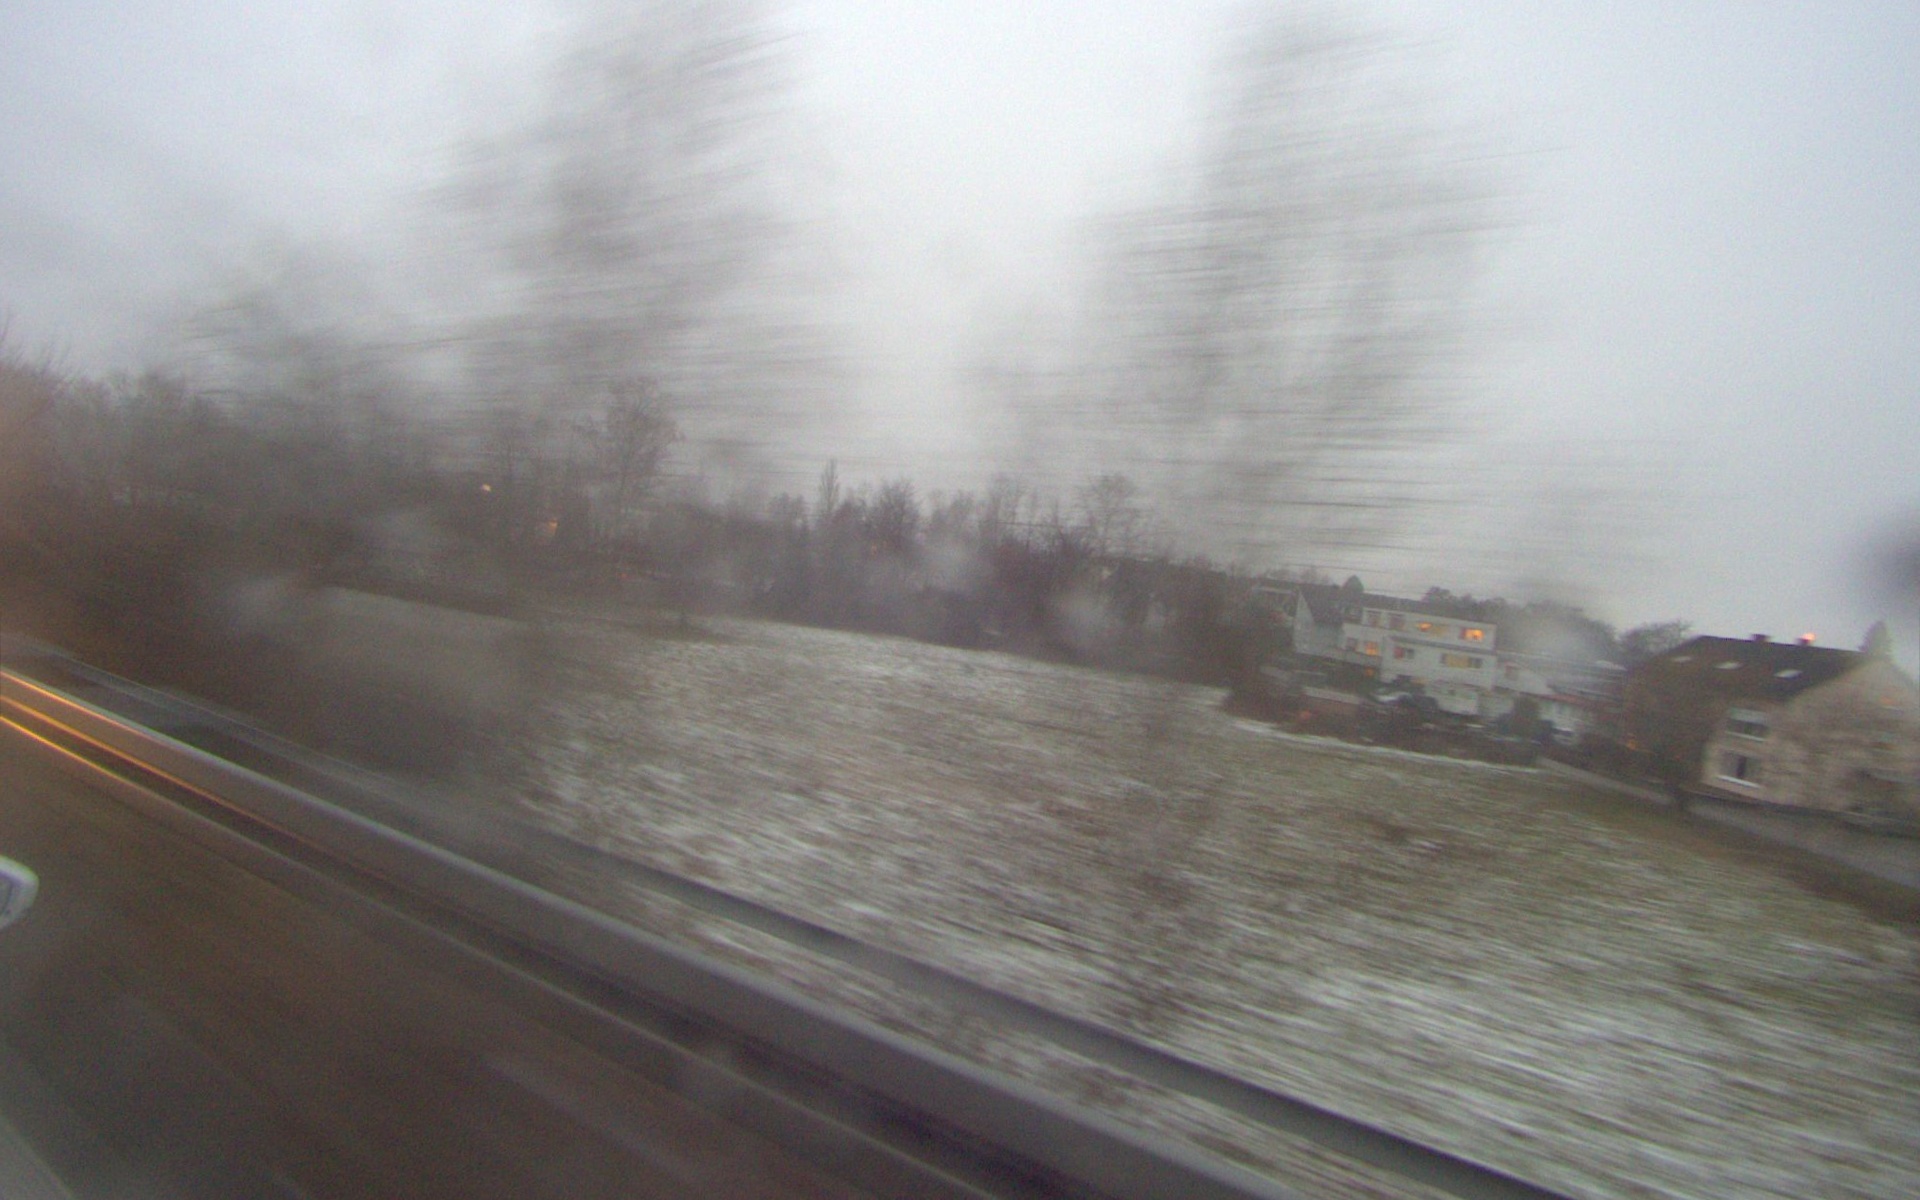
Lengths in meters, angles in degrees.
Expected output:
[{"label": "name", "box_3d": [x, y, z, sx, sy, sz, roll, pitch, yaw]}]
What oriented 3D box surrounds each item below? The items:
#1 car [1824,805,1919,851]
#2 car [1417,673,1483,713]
[{"label": "car", "box_3d": [52.602, 13.128, 57.927, 3.928, 1.749, 1.999, 8, 0, -3]}, {"label": "car", "box_3d": [44.893, 8.523, 92.374, 2.253, 2.874, 6.110, 7, -1, -5]}]
